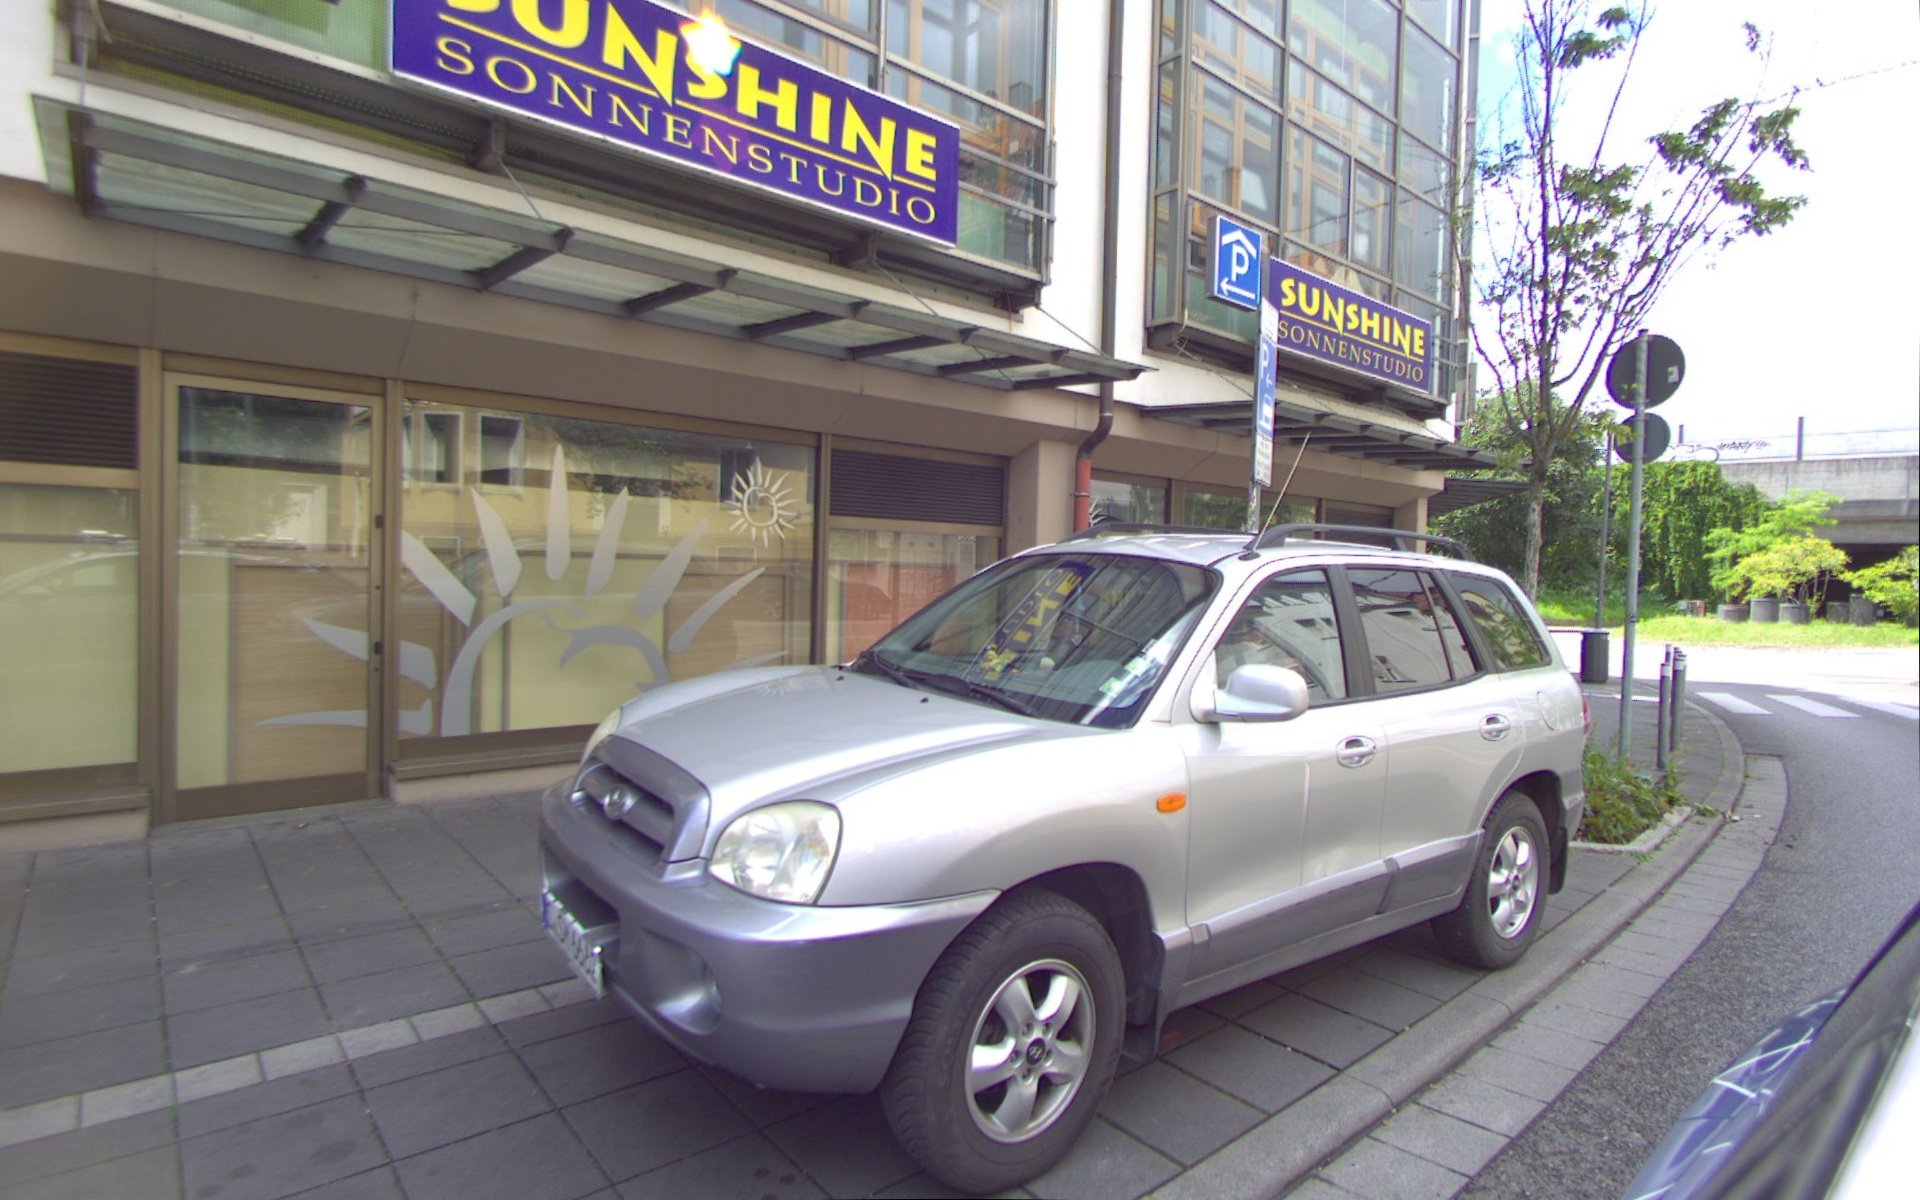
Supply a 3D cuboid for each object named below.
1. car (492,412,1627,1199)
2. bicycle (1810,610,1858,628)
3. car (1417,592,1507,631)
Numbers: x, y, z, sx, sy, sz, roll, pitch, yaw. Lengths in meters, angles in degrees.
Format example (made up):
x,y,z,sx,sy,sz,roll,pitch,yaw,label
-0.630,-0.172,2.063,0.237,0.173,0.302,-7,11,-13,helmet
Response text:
x,y,z,sx,sy,sz,roll,pitch,yaw,label
0.660,0.494,3.876,4.154,1.752,1.830,0,2,-37,car
49.048,1.052,56.807,0.498,0.915,1.947,0,3,-44,bicycle
19.065,0.430,38.350,3.931,1.371,1.712,0,1,-42,car
